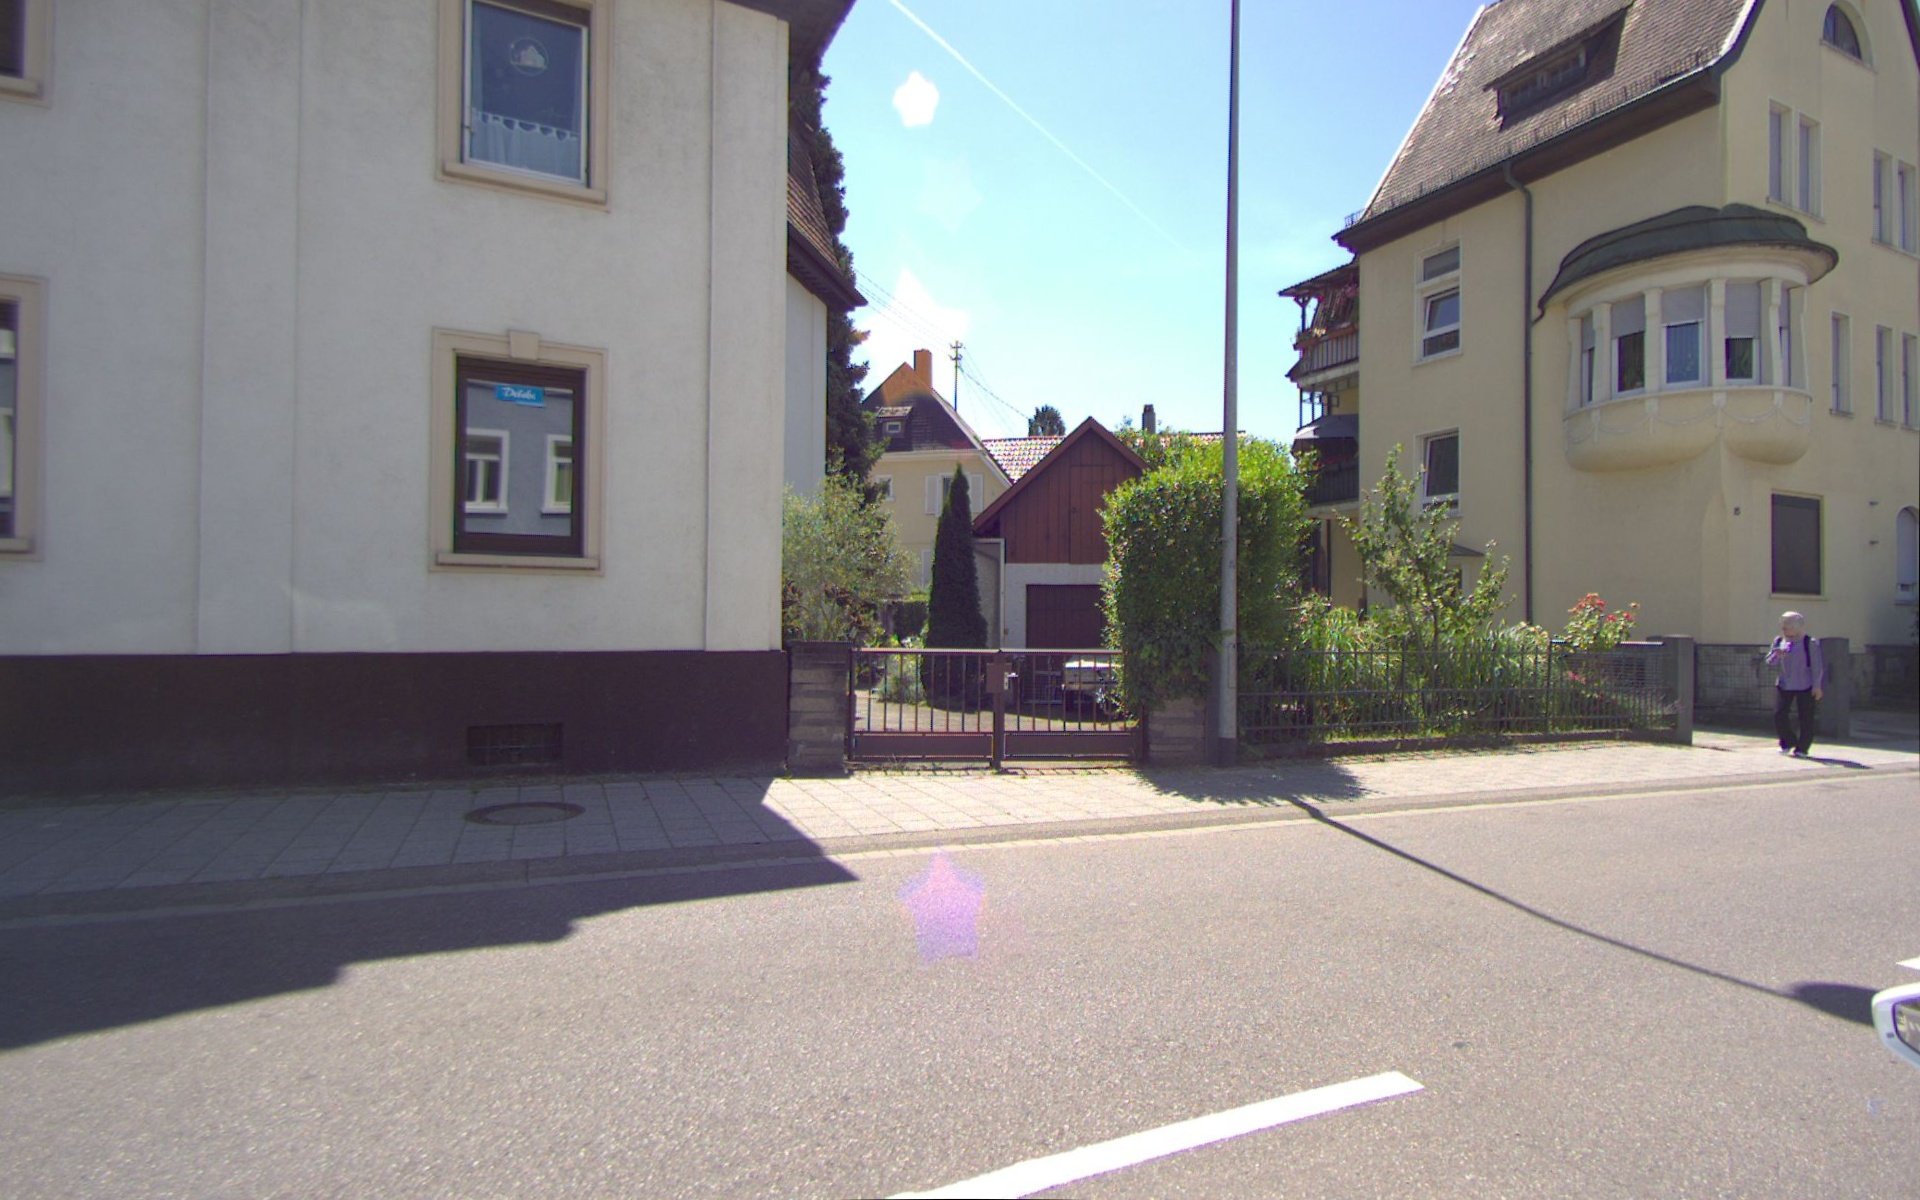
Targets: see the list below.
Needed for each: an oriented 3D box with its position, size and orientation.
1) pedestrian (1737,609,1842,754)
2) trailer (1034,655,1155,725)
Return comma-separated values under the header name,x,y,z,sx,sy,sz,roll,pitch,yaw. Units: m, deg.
name,x,y,z,sx,sy,sz,roll,pitch,yaw
pedestrian,9.560,0.916,11.586,0.813,1.585,0.611,1,1,-26
trailer,2.165,1.351,15.673,1.332,0.872,2.818,1,-1,19
